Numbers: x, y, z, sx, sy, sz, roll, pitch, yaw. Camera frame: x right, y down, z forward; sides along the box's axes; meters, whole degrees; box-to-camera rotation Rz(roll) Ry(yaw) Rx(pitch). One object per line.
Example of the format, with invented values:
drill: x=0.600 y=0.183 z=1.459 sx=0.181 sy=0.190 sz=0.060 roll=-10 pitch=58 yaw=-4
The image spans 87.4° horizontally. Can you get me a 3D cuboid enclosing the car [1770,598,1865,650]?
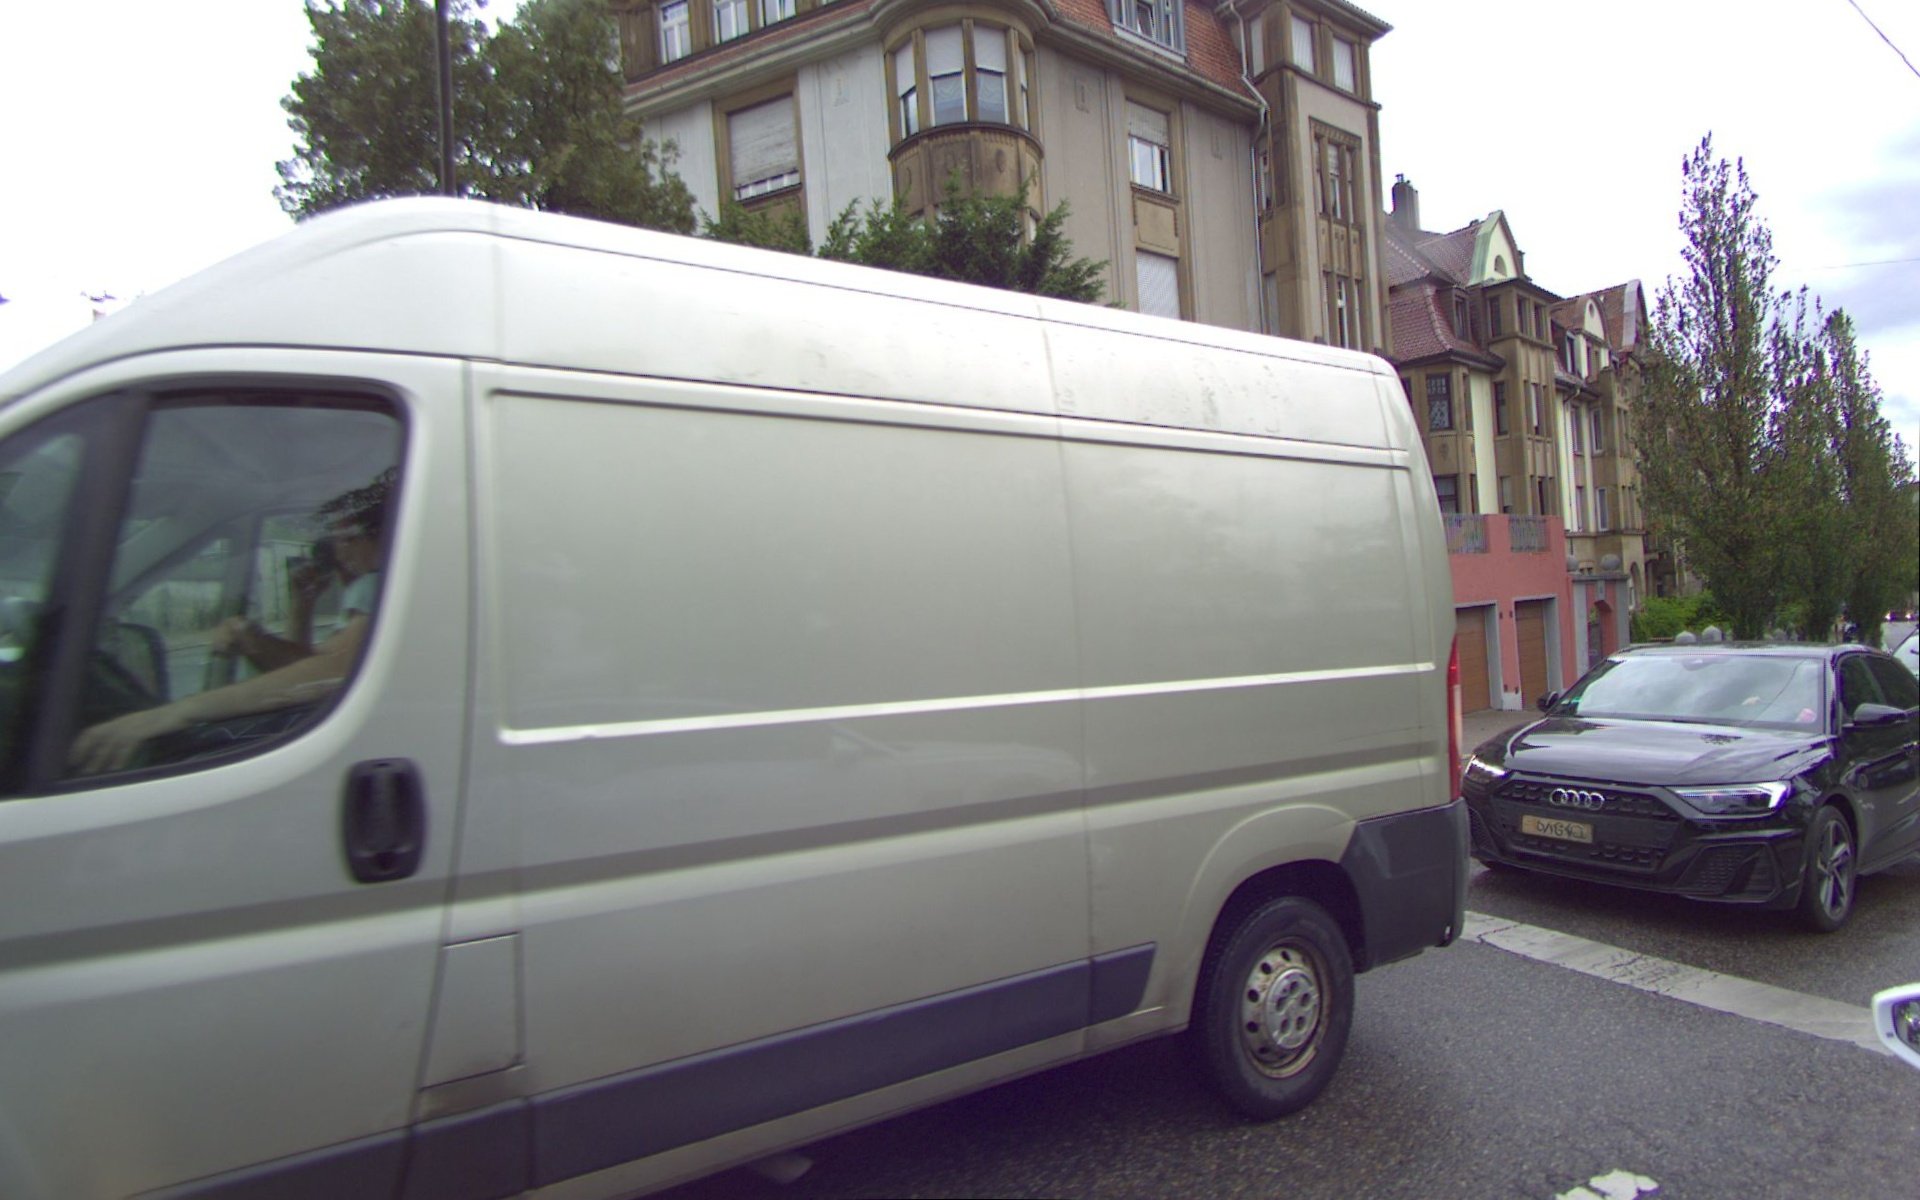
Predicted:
car: x=28.709 y=0.848 z=33.588 sx=3.968 sy=1.633 sz=1.800 roll=2 pitch=-3 yaw=-40

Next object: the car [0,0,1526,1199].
car: x=-0.891 y=0.234 z=3.095 sx=5.475 sy=2.579 sz=2.107 roll=1 pitch=-3 yaw=-31

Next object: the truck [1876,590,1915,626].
truck: x=120.442 y=0.949 z=129.381 sx=2.757 sy=4.187 sz=10.800 roll=-4 pitch=-1 yaw=39

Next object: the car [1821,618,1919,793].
car: x=10.658 y=0.987 z=10.320 sx=4.545 sy=1.595 sz=1.861 roll=1 pitch=-3 yaw=-38

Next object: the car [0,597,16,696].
car: x=-14.781 y=0.811 z=13.201 sx=1.640 sy=1.457 sz=3.362 roll=-6 pitch=2 yaw=-6

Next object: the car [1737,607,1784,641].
car: x=44.601 y=1.345 z=55.929 sx=1.768 sy=1.672 sz=4.176 roll=-8 pitch=-6 yaw=40

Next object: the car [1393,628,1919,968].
car: x=4.645 y=0.928 z=6.205 sx=3.960 sy=1.448 sz=1.803 roll=1 pitch=-4 yaw=-35
